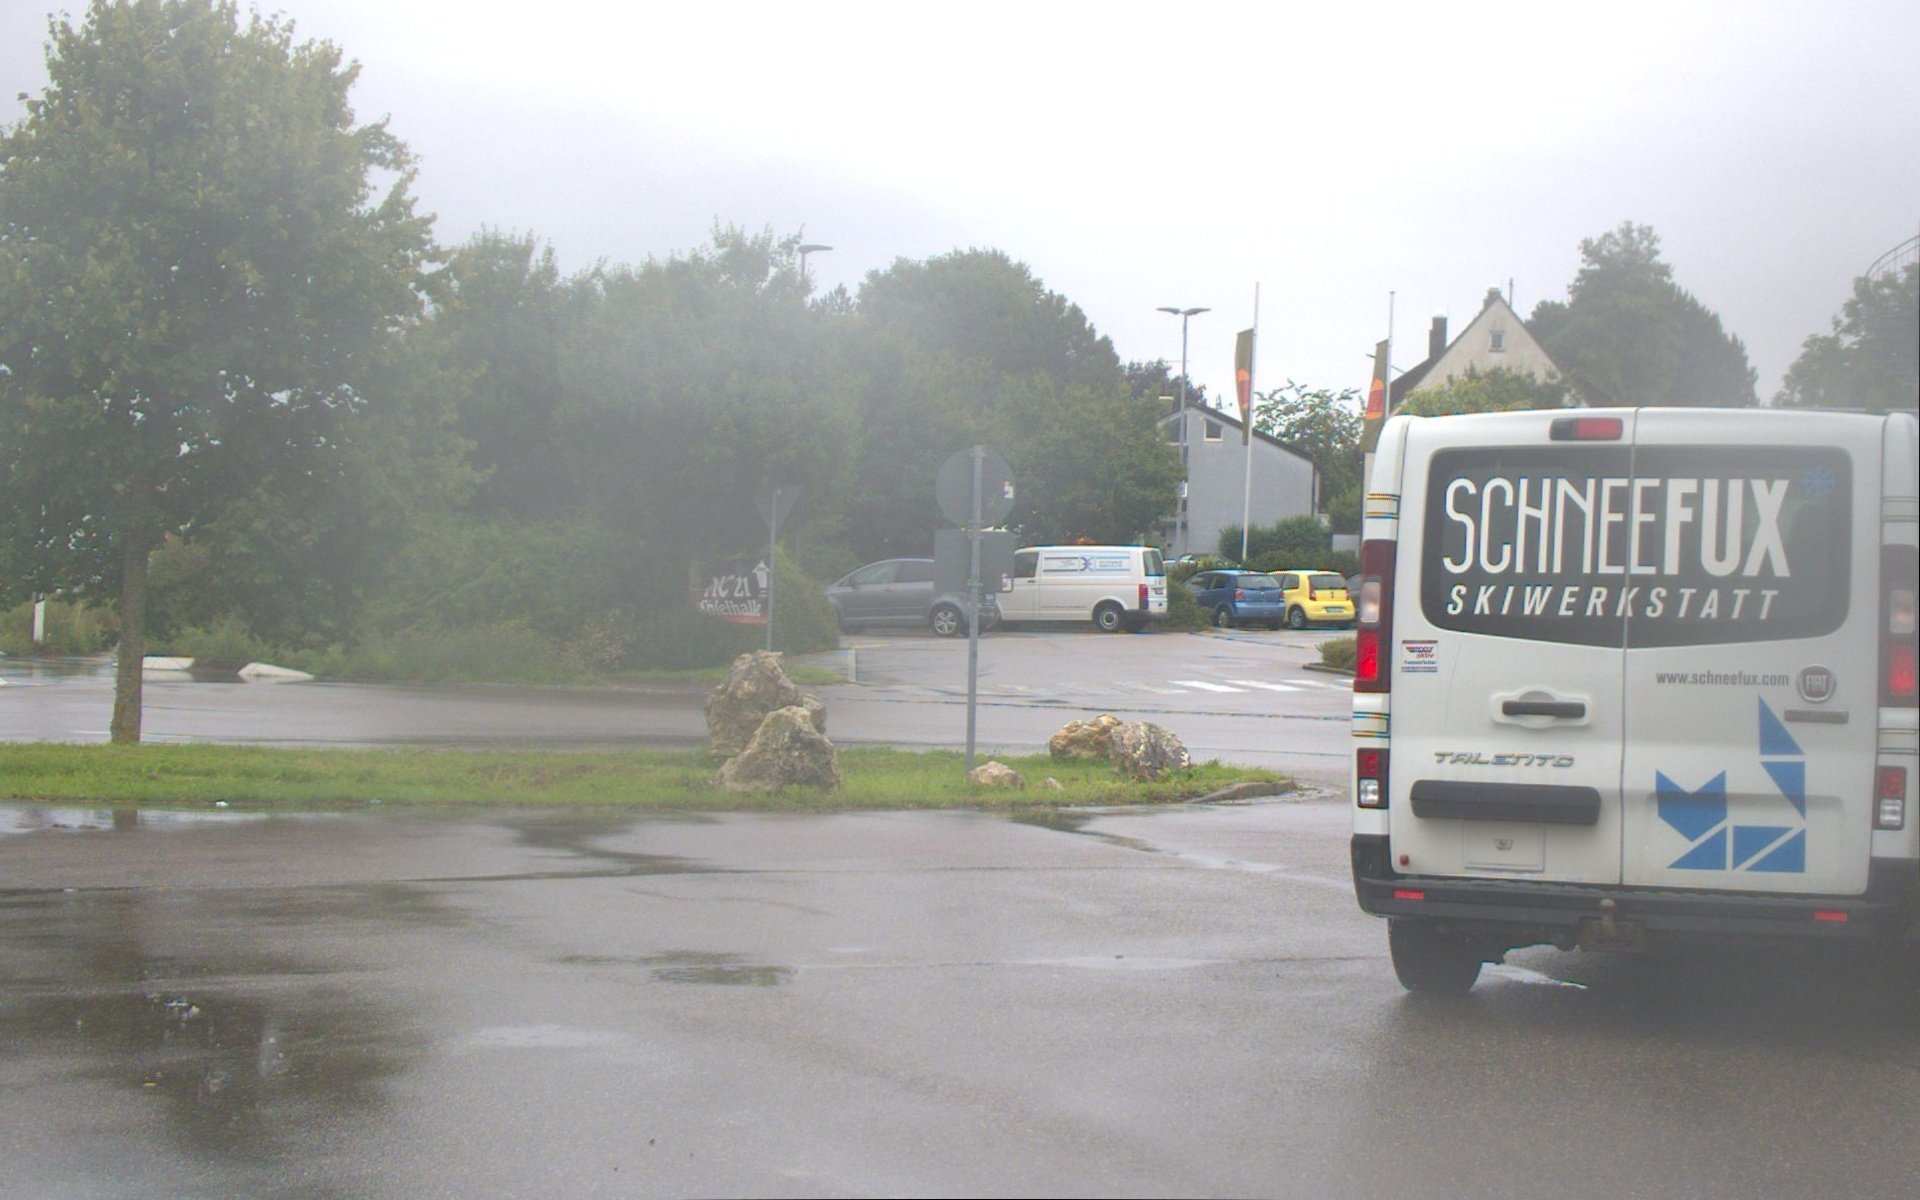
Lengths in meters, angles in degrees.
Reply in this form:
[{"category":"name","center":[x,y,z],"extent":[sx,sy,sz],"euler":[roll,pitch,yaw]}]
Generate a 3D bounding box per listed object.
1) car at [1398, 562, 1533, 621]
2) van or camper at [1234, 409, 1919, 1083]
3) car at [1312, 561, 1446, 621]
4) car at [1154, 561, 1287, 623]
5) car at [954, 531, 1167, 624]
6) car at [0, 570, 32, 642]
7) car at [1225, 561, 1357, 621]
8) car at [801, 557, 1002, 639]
[{"category":"car","center":[13.028,-0.237,88.779],"extent":[1.580,1.453,3.681],"euler":[0,1,-27]},{"category":"van or camper","center":[2.885,0.377,12.682],"extent":[2.190,1.938,5.191],"euler":[1,1,23]},{"category":"car","center":[10.634,-0.241,87.434],"extent":[1.580,1.453,3.681],"euler":[0,1,-27]},{"category":"car","center":[6.393,-0.219,84.609],"extent":[1.550,1.453,3.681],"euler":[0,1,-27]},{"category":"car","center":[2.276,-0.527,78.017],"extent":[4.524,2.026,1.643],"euler":[1,1,19]},{"category":"car","center":[-24.915,0.136,83.317],"extent":[4.354,1.752,1.748],"euler":[1,0,-40]},{"category":"car","center":[8.308,-0.239,86.571],"extent":[1.580,1.453,3.681],"euler":[0,1,-27]},{"category":"car","center":[-1.169,-0.056,68.633],"extent":[3.735,1.545,1.449],"euler":[1,1,19]}]
